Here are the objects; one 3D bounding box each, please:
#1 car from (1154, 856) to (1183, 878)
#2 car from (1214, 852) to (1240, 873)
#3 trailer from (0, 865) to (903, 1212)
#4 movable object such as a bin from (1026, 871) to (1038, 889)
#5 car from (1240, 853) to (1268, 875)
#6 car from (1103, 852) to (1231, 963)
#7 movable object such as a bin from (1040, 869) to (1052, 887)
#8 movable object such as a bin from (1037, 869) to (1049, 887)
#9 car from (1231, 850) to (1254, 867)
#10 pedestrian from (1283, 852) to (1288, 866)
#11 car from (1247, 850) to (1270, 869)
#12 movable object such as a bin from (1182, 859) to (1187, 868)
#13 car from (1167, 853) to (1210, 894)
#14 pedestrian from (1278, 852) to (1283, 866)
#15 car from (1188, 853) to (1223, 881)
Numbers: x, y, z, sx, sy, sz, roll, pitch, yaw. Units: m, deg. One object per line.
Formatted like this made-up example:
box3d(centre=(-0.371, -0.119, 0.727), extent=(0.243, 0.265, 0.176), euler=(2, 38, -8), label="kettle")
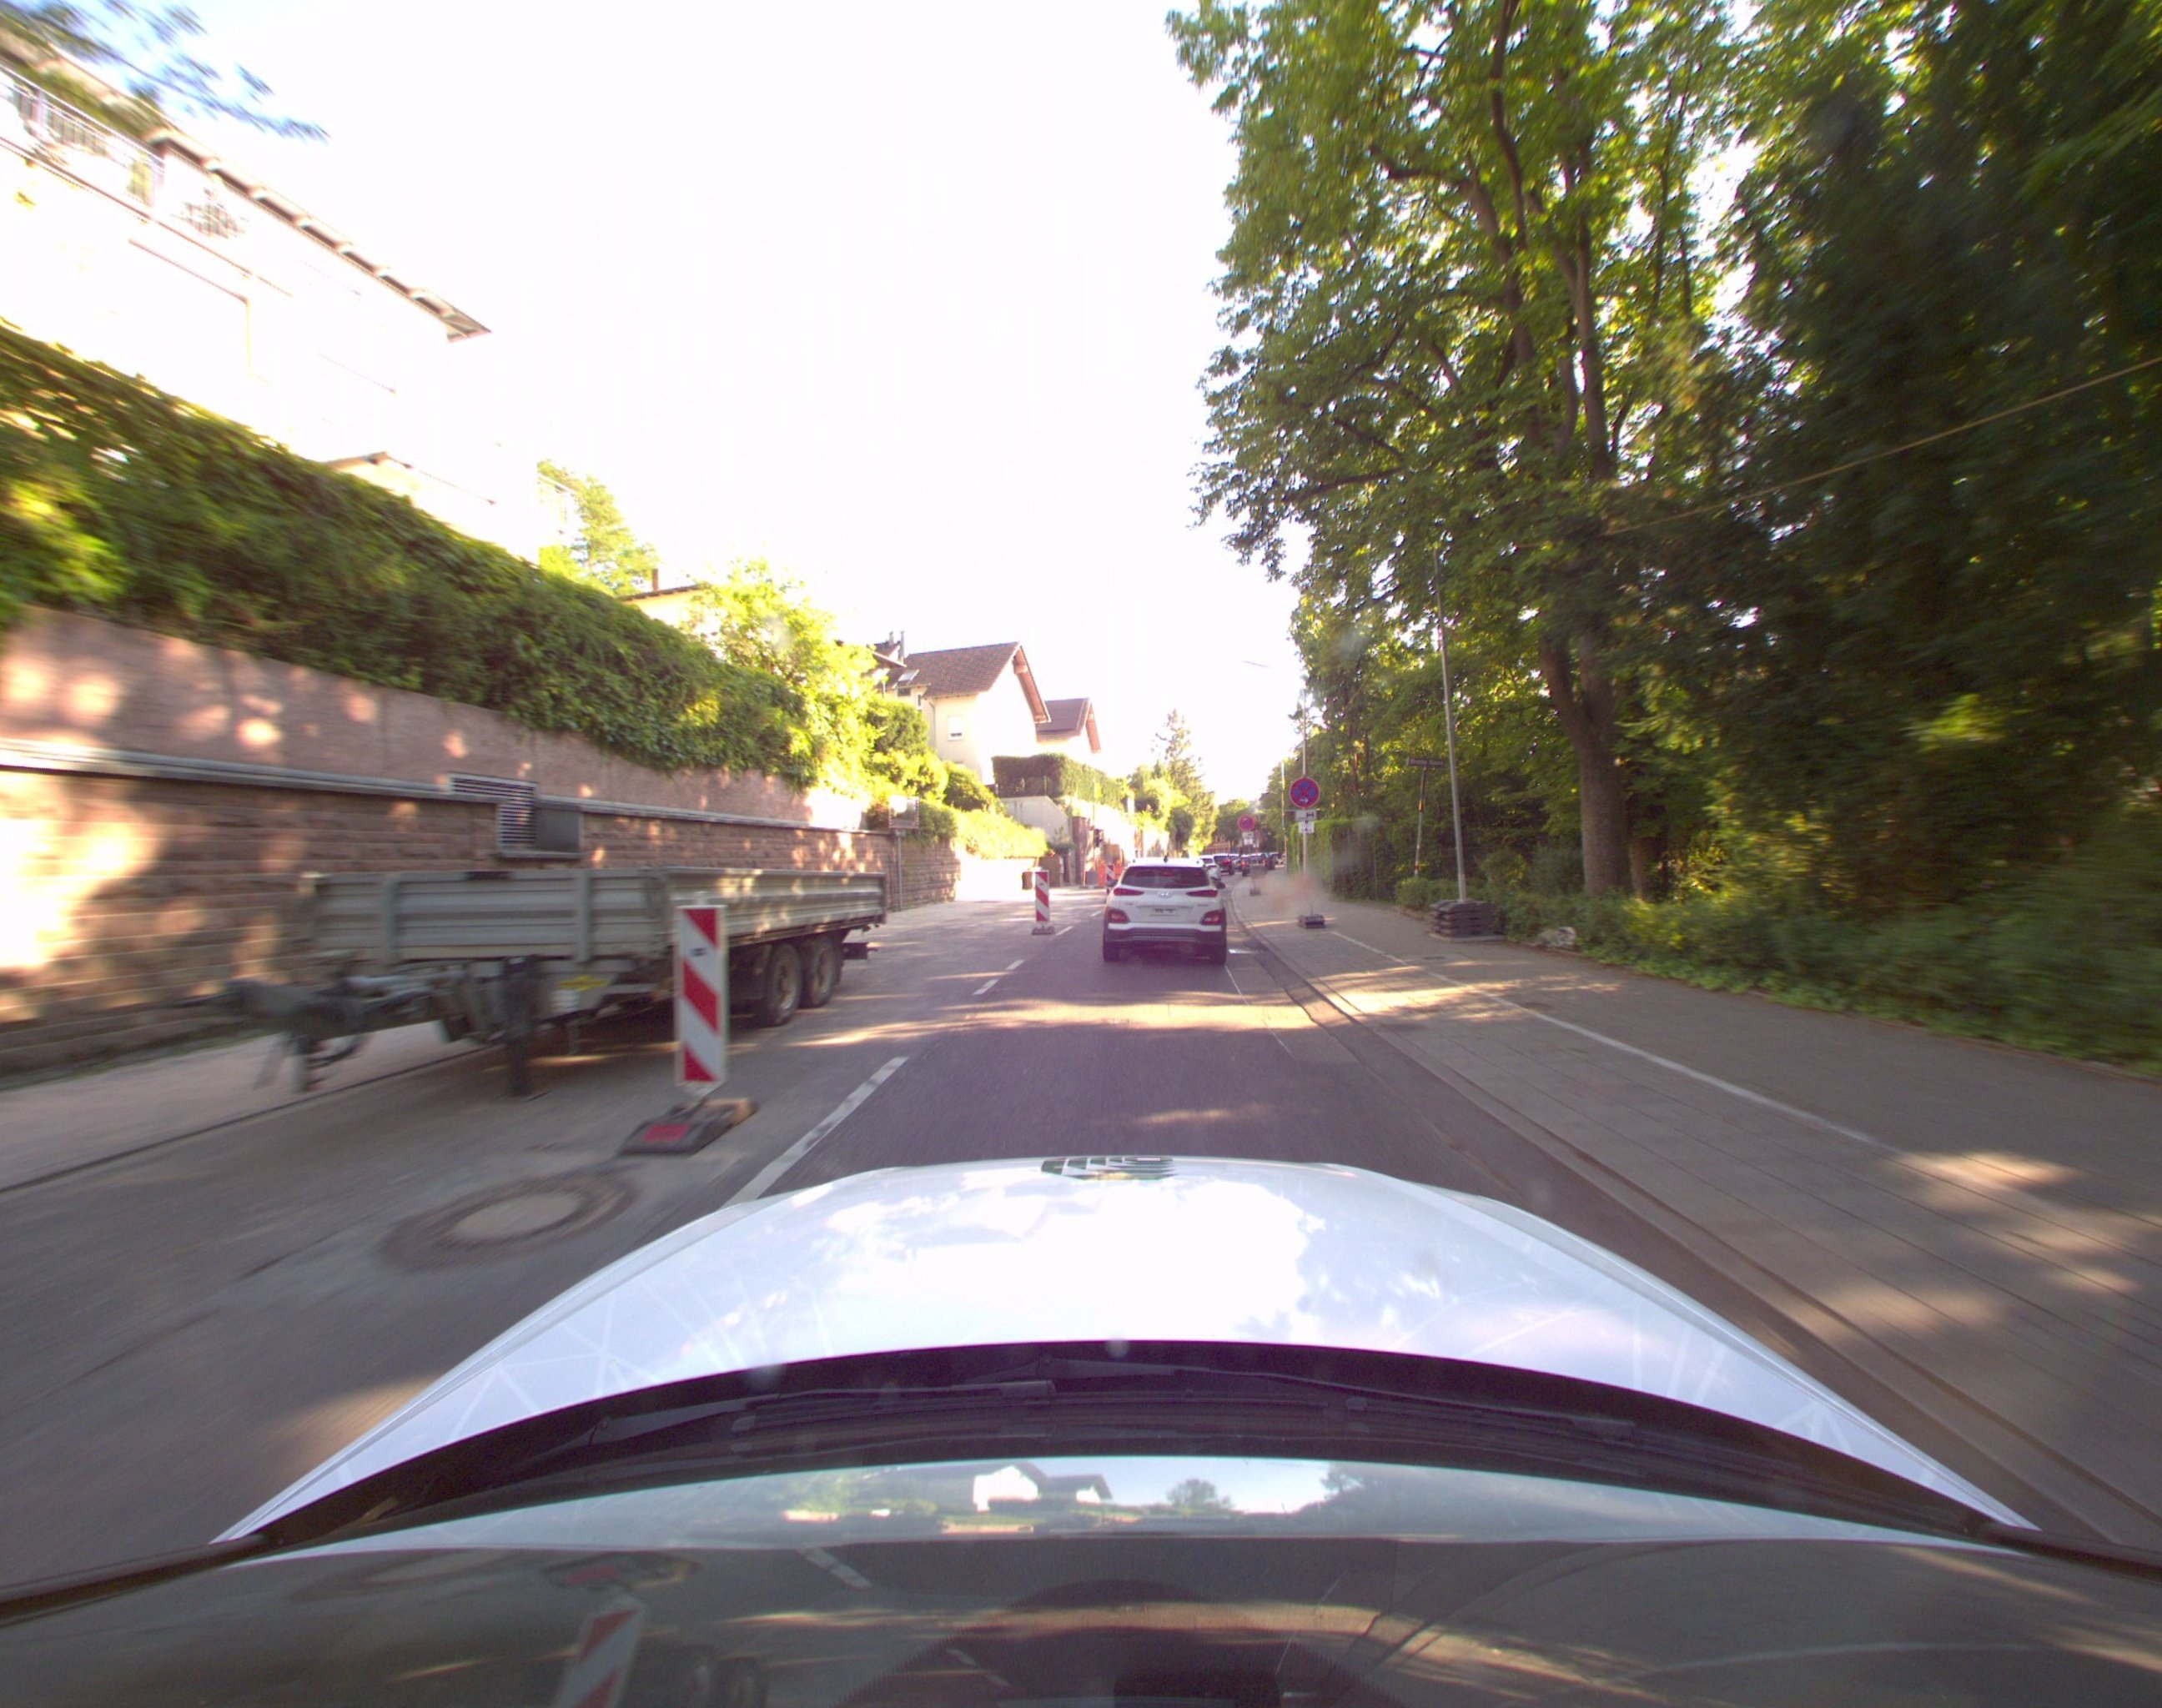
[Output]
box3d(centre=(6.433, 0.929, 59.410), extent=(1.615, 1.422, 3.575), euler=(-3, -1, 13), label="car")
box3d(centre=(11.029, 0.612, 61.289), extent=(1.682, 1.533, 3.896), euler=(-2, 0, 13), label="car")
box3d(centre=(-3.877, 0.894, 7.258), extent=(2.629, 1.489, 7.124), euler=(-1, 0, 3), label="trailer")
box3d(centre=(-2.353, 1.246, 39.219), extent=(0.451, 0.834, 0.393), euler=(-2, 0, 12), label="movable object such as a bin")
box3d(centre=(12.510, 0.700, 58.711), extent=(1.781, 1.441, 4.015), euler=(-3, 0, 14), label="car")
box3d(centre=(1.370, 0.758, 13.359), extent=(1.764, 1.542, 4.006), euler=(-1, 0, 5), label="car")
box3d(centre=(-1.793, 1.215, 41.722), extent=(0.453, 0.884, 0.502), euler=(-1, 0, 13), label="movable object such as a bin")
box3d(centre=(-1.917, 1.228, 41.206), extent=(0.453, 0.884, 0.502), euler=(-1, 0, 13), label="movable object such as a bin")
box3d(centre=(14.965, 0.412, 75.462), extent=(1.680, 1.447, 3.898), euler=(-2, 0, 17), label="car")
box3d(centre=(23.917, 0.570, 95.186), extent=(0.499, 1.569, 0.505), euler=(-5, -1, 15), label="pedestrian")
box3d(centre=(14.978, 0.460, 68.755), extent=(1.640, 1.564, 2.885), euler=(-2, 0, 17), label="car")
box3d(centre=(11.460, 1.042, 90.487), extent=(0.486, 0.964, 0.585), euler=(-1, 0, 12), label="movable object such as a bin")
box3d(centre=(4.476, 0.763, 33.553), extent=(1.502, 1.533, 3.558), euler=(-2, 0, 11), label="car")
box3d(centre=(23.396, 0.588, 95.446), extent=(0.499, 1.606, 0.493), euler=(-5, -1, 15), label="pedestrian")
box3d(centre=(7.090, 0.710, 46.179), extent=(1.559, 1.477, 3.562), euler=(-1, 0, 15), label="car")
